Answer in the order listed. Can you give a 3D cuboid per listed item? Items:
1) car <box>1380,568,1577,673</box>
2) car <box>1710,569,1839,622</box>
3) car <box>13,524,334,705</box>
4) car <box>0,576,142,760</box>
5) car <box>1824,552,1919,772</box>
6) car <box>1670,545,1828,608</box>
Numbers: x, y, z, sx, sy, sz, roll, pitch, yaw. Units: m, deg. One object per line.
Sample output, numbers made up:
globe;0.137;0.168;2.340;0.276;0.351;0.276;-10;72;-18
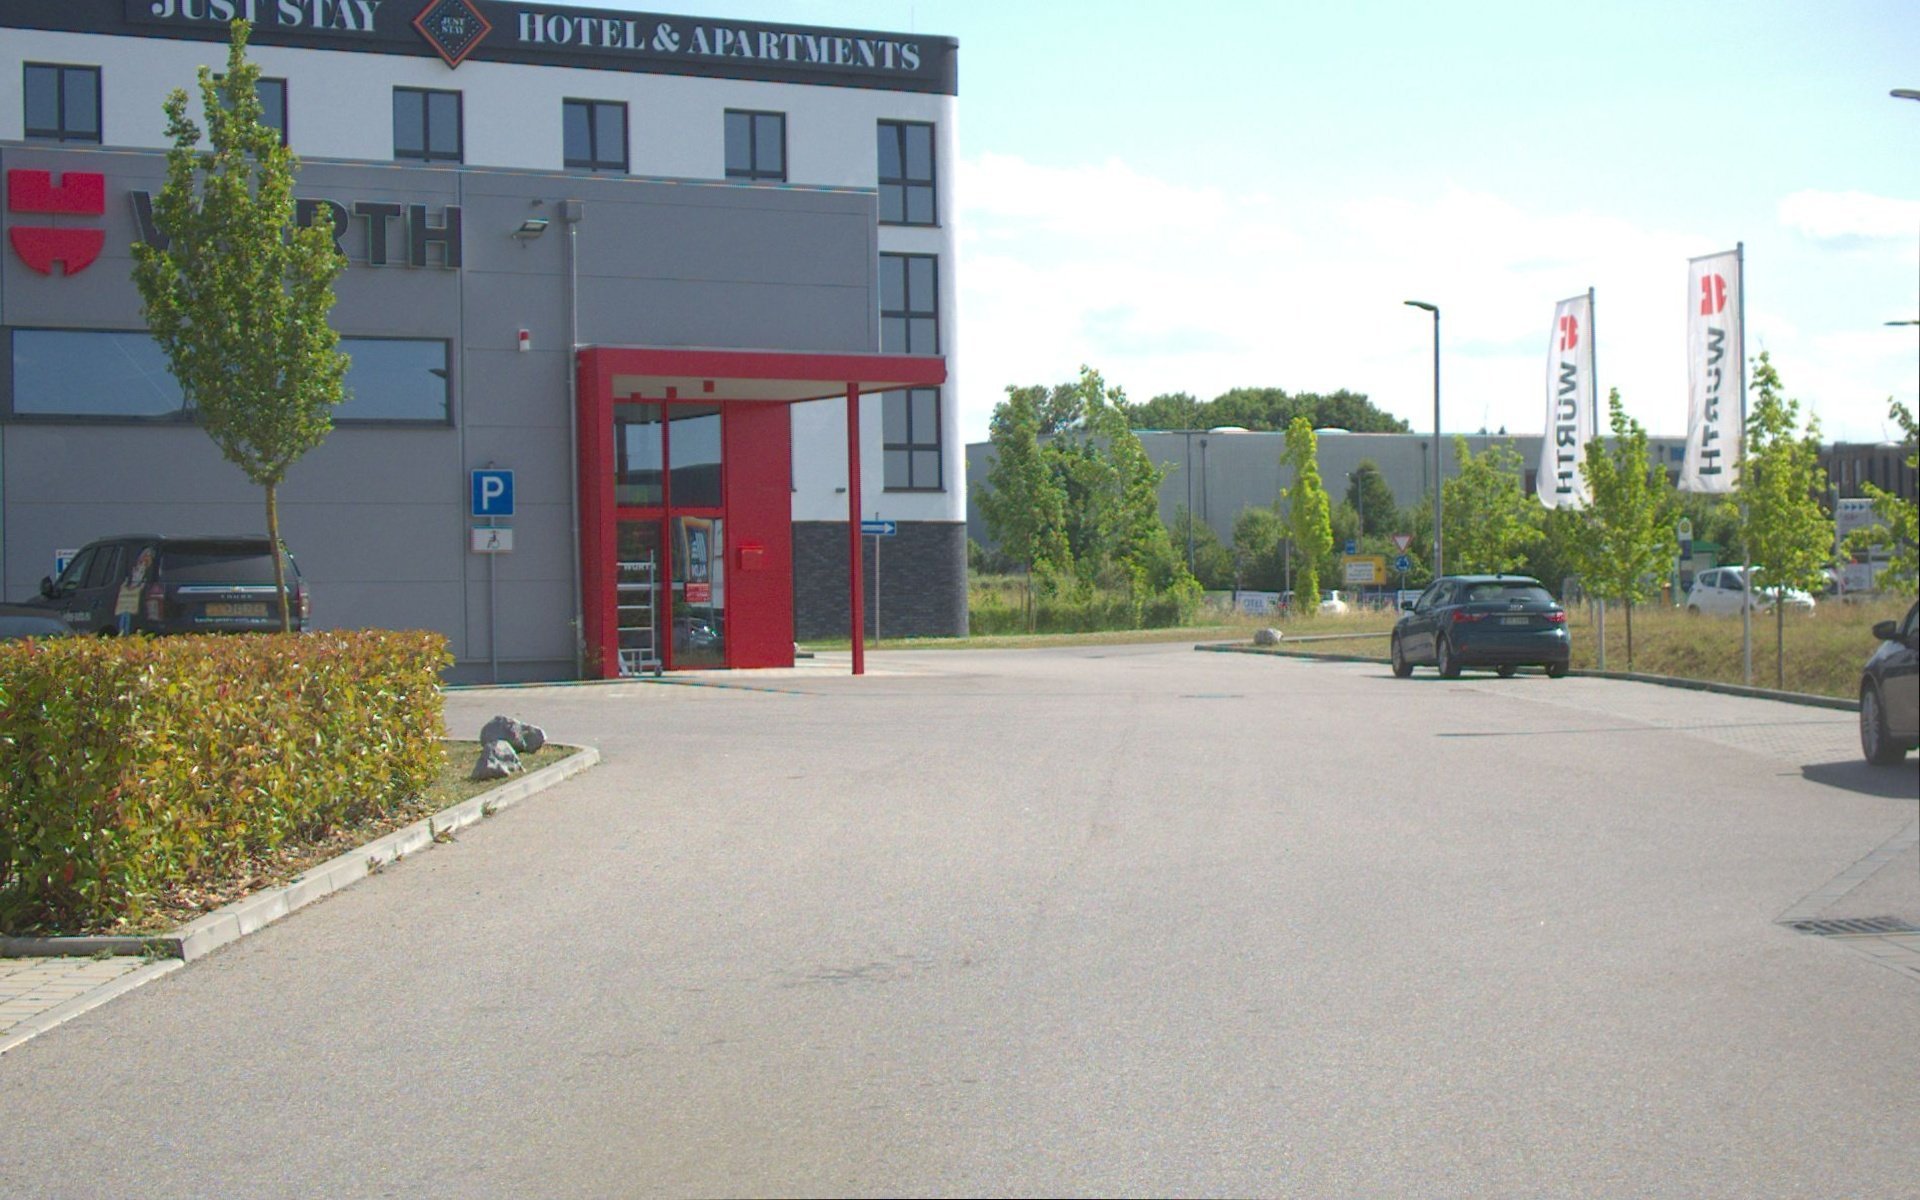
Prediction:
car;7.168;0.256;47.861;1.698;1.401;3.898;0;0;-7
car;22.022;-0.134;93.043;1.646;1.381;3.513;-1;1;-22
car;-8.886;0.115;38.521;2.071;1.874;4.879;-1;1;-31
car;-8.264;0.502;27.806;1.862;1.358;4.376;-1;1;-32
car;7.391;0.391;23.533;1.836;1.472;4.120;-2;1;0
car;19.073;-0.585;83.299;1.872;1.478;4.001;-1;1;-19
